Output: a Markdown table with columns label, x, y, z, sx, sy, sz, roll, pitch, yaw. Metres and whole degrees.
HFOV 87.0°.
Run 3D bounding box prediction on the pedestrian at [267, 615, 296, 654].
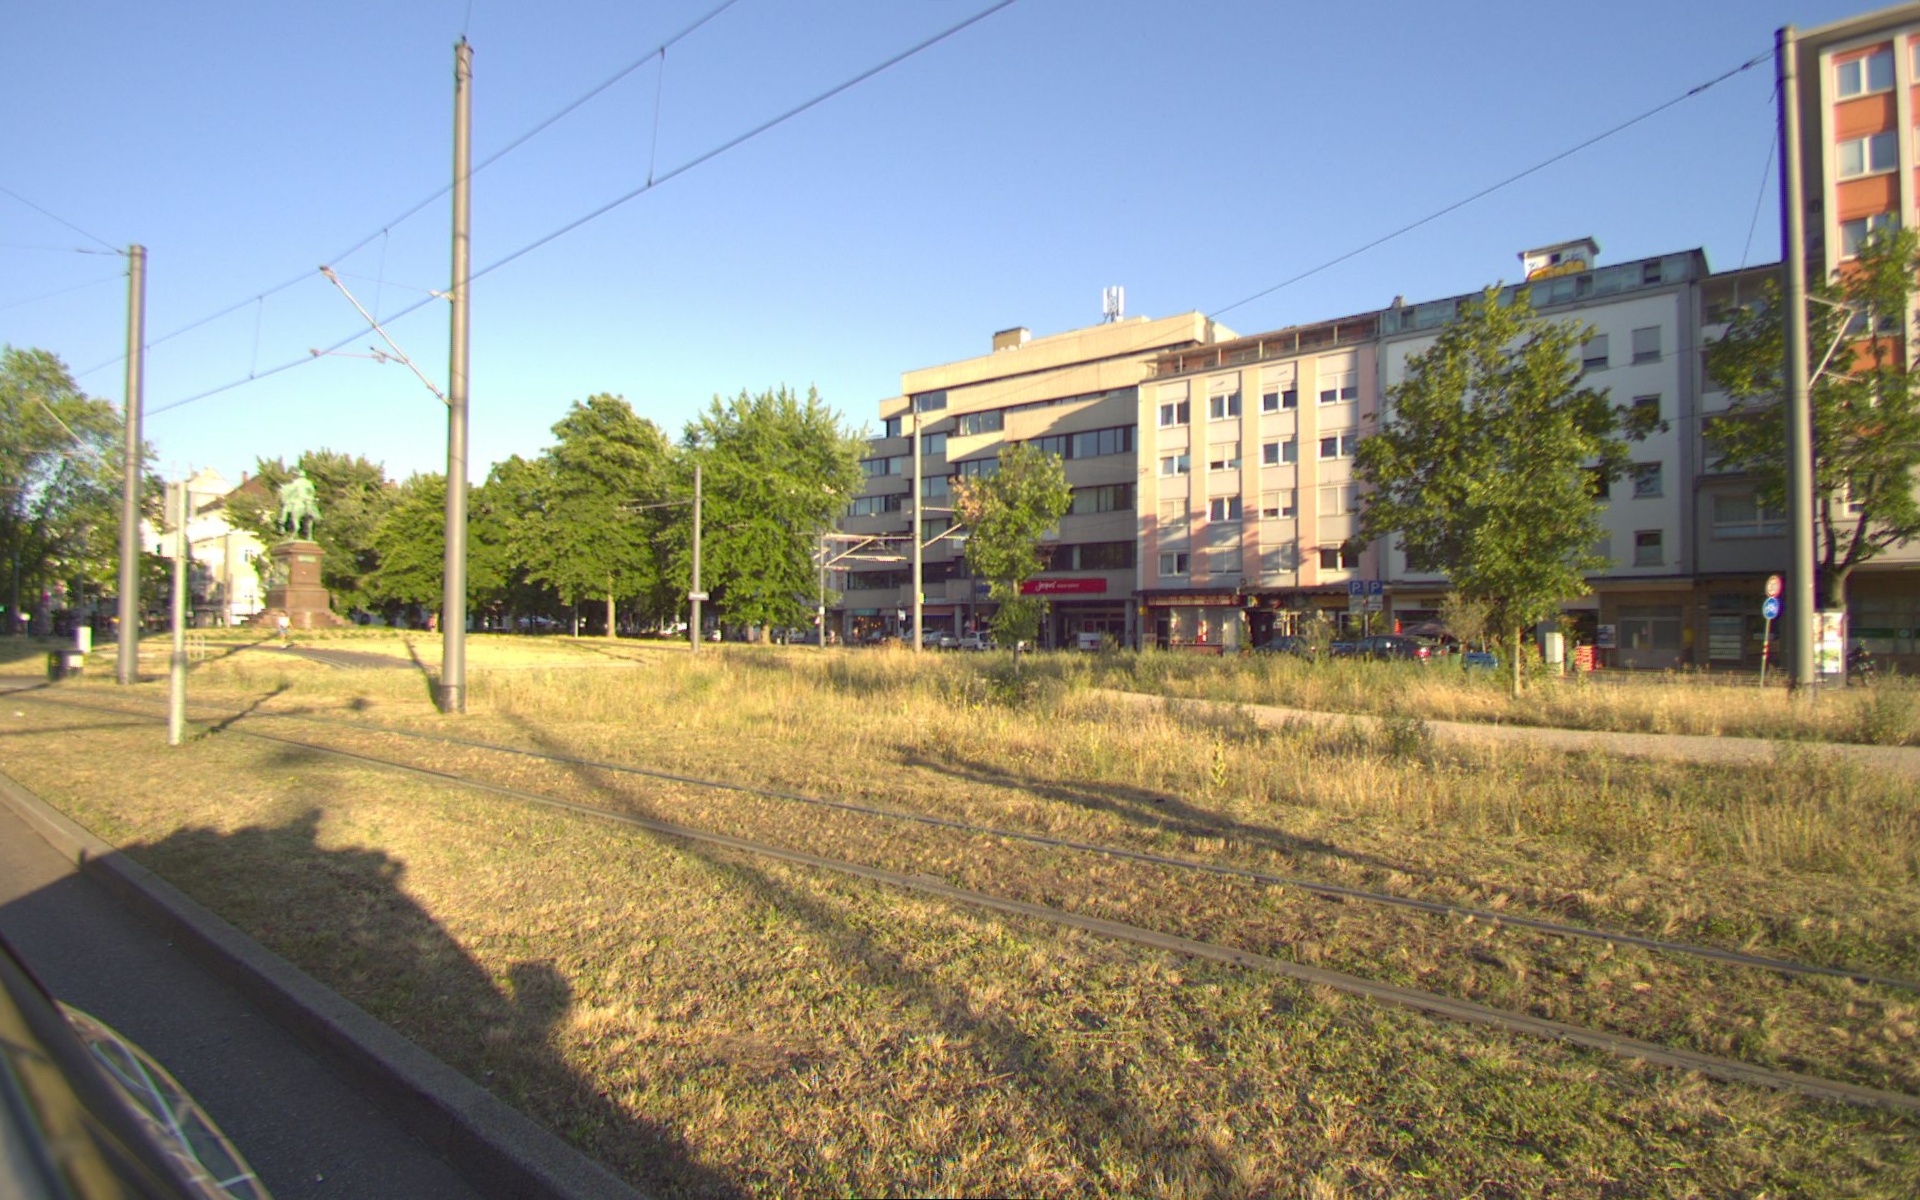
| label | x | y | z | sx | sy | sz | roll | pitch | yaw |
| --- | --- | --- | --- | --- | --- | --- | --- | --- | --- |
| pedestrian | -30.376 | 1.532 | 45.292 | 0.797 | 1.741 | 0.880 | -2 | -2 | 41 |

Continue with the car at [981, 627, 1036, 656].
| label | x | y | z | sx | sy | sz | roll | pitch | yaw |
| --- | --- | --- | --- | --- | --- | --- | --- | --- | --- |
| car | 3.172 | 2.712 | 66.961 | 1.892 | 1.878 | 4.013 | 1 | -2 | -27 |

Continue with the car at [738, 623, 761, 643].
| label | x | y | z | sx | sy | sz | roll | pitch | yaw |
| --- | --- | --- | --- | --- | --- | --- | --- | --- | --- |
| car | -23.549 | 3.662 | 113.183 | 1.966 | 2.029 | 4.012 | -1 | 0 | -18 |

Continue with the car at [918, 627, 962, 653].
| label | x | y | z | sx | sy | sz | roll | pitch | yaw |
| --- | --- | --- | --- | --- | --- | --- | --- | --- | --- |
| car | -1.529 | 3.007 | 77.060 | 1.965 | 1.893 | 4.013 | 1 | -2 | -23 |

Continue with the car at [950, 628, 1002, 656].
| label | x | y | z | sx | sy | sz | roll | pitch | yaw |
| --- | --- | --- | --- | --- | --- | --- | --- | --- | --- |
| car | 1.089 | 2.938 | 71.542 | 1.965 | 1.893 | 4.013 | 1 | -2 | -27 |

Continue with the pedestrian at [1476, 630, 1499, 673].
| label | x | y | z | sx | sy | sz | roll | pitch | yaw |
| --- | --- | --- | --- | --- | --- | --- | --- | --- | --- |
| pedestrian | 22.475 | 2.185 | 43.125 | 0.704 | 1.806 | 0.587 | -2 | -2 | 41 |

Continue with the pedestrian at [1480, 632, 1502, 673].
| label | x | y | z | sx | sy | sz | roll | pitch | yaw |
| --- | --- | --- | --- | --- | --- | --- | --- | --- | --- |
| pedestrian | 22.899 | 2.250 | 43.615 | 0.698 | 1.764 | 0.642 | -2 | -2 | 41 |

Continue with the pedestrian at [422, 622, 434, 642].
| label | x | y | z | sx | sy | sz | roll | pitch | yaw |
| --- | --- | --- | --- | --- | --- | --- | --- | --- | --- |
| pedestrian | -44.058 | 2.635 | 83.849 | 0.635 | 1.682 | 0.702 | -1 | -2 | 41 |

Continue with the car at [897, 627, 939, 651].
| label | x | y | z | sx | sy | sz | roll | pitch | yaw |
| --- | --- | --- | --- | --- | --- | --- | --- | --- | --- |
| car | -3.455 | 3.127 | 81.966 | 1.965 | 1.951 | 4.013 | 1 | -2 | -25 |

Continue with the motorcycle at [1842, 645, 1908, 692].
| label | x | y | z | sx | sy | sz | roll | pitch | yaw |
| --- | --- | --- | --- | --- | --- | --- | --- | --- | --- |
| motorcycle | 26.585 | 1.979 | 29.415 | 1.390 | 1.328 | 0.376 | -2 | -2 | 43 |

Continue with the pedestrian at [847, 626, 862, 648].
| label | x | y | z | sx | sy | sz | roll | pitch | yaw |
| --- | --- | --- | --- | --- | --- | --- | --- | --- | --- |
| pedestrian | -9.818 | 3.420 | 94.332 | 0.892 | 2.051 | 1.123 | -2 | -2 | 43 |

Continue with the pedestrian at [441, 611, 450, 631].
| label | x | y | z | sx | sy | sz | roll | pitch | yaw |
| --- | --- | --- | --- | --- | --- | --- | --- | --- | --- |
| pedestrian | -42.975 | 1.749 | 84.568 | 0.512 | 1.707 | 0.528 | -1 | -2 | 41 |

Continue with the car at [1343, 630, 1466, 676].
| label | x | y | z | sx | sy | sz | roll | pitch | yaw |
| --- | --- | --- | --- | --- | --- | --- | --- | --- | --- |
| car | 17.265 | 2.024 | 39.515 | 1.965 | 1.697 | 4.012 | 1 | -2 | -28 |
